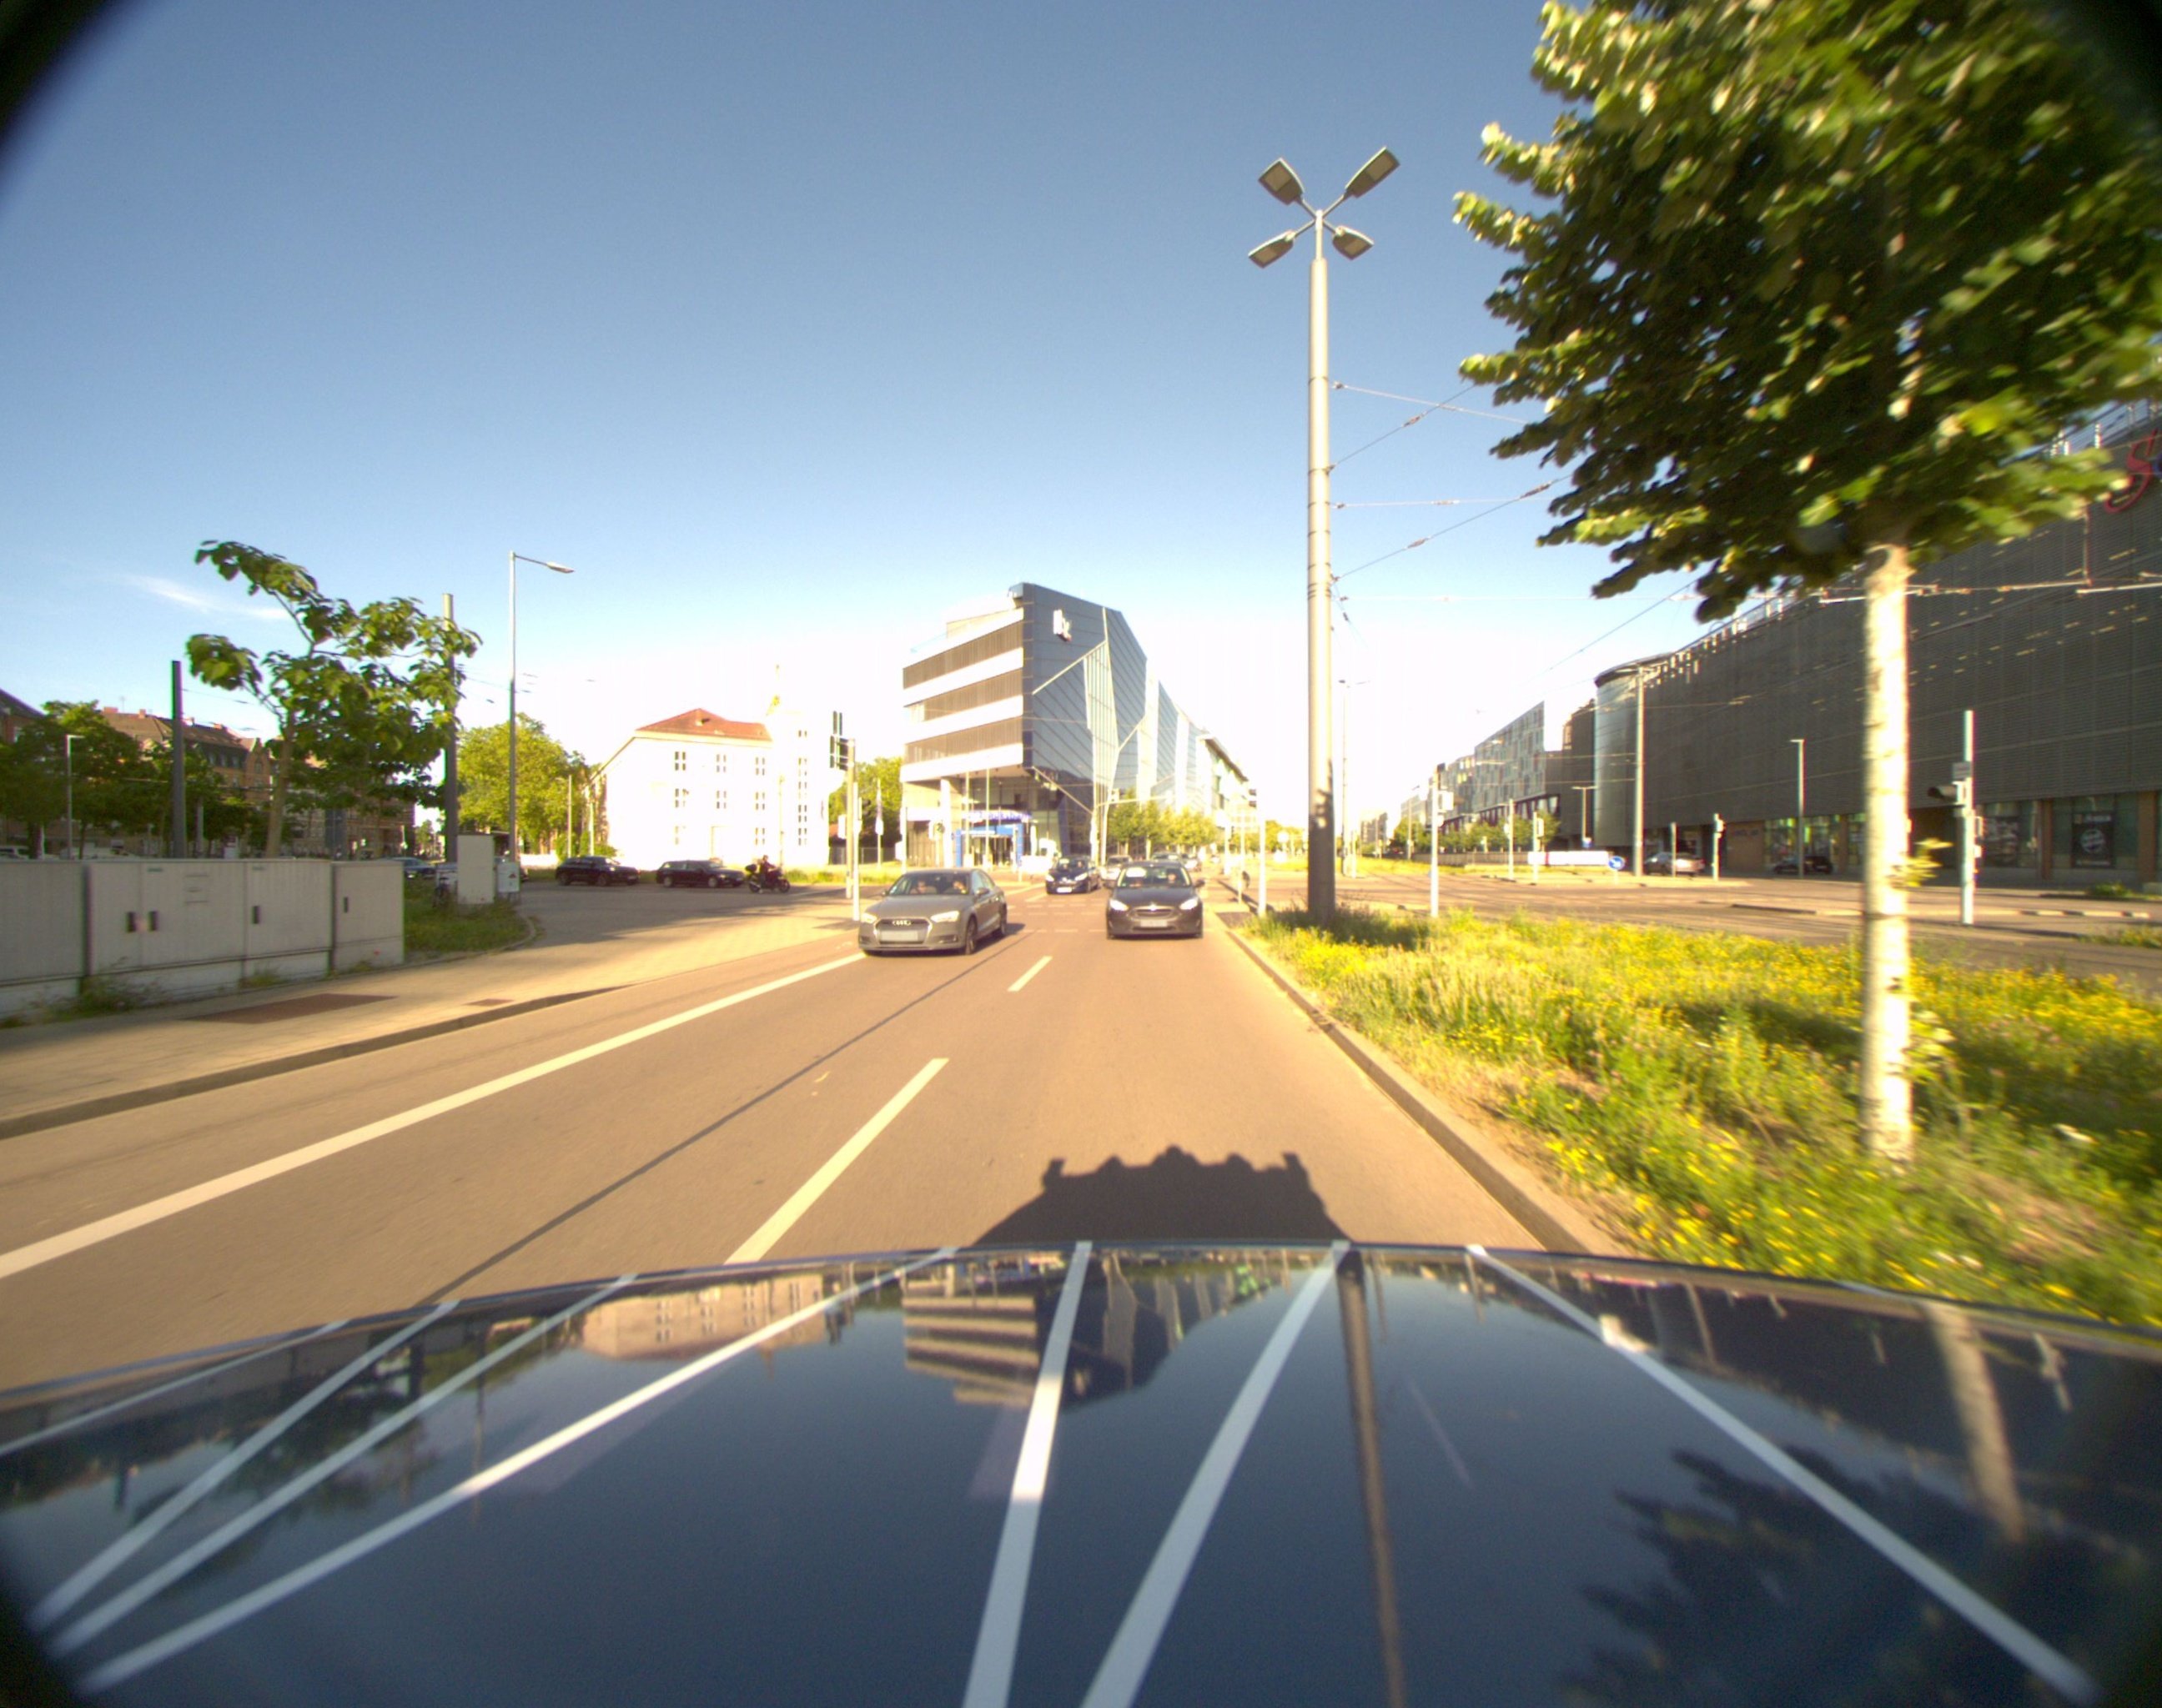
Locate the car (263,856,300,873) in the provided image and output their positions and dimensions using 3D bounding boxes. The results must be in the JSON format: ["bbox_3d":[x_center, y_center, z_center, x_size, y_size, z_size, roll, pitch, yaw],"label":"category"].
[{"bbox_3d":[-69.739,0.908,66.334,1.938,1.368,3.988,-1,1,-42],"label":"car"}]

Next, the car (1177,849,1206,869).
[{"bbox_3d":[8.323,0.330,56.946,1.618,1.421,3.772,0,1,17],"label":"car"}]

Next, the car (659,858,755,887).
[{"bbox_3d":[-19.356,0.929,39.309,4.285,1.414,2.003,0,1,19],"label":"car"}]

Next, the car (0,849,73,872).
[{"bbox_3d":[-81.952,0.508,58.966,1.995,1.707,4.006,0,1,20],"label":"car"}]

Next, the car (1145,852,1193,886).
[{"bbox_3d":[4.190,0.659,35.657,1.747,1.496,3.884,0,1,14],"label":"car"}]

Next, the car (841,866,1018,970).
[{"bbox_3d":[-2.428,0.979,13.312,1.713,1.433,4.114,0,1,9],"label":"car"}]

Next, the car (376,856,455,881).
[{"bbox_3d":[-40.661,0.870,46.417,4.514,1.414,2.003,0,1,26],"label":"car"}]

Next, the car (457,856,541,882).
[{"bbox_3d":[-33.671,0.834,43.978,3.991,1.414,2.003,0,1,19],"label":"car"}]

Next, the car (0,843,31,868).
[{"bbox_3d":[-76.197,0.091,52.416,1.995,1.707,4.006,0,1,21],"label":"car"}]

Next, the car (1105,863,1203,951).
[{"bbox_3d":[1.579,0.933,15.223,1.688,1.425,4.156,0,1,9],"label":"car"}]

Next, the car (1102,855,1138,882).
[{"bbox_3d":[2.308,0.781,43.891,1.437,1.437,4.004,0,1,13],"label":"car"}]

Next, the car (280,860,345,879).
[{"bbox_3d":[-52.612,1.043,52.014,3.989,1.237,2.004,0,1,27],"label":"car"}]

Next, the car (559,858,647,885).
[{"bbox_3d":[-26.004,0.928,41.358,3.991,1.414,2.003,0,1,19],"label":"car"}]

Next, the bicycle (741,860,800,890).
[{"bbox_3d":[-14.234,0.960,34.816,2.368,1.304,0.952,0,1,13],"label":"bicycle"}]

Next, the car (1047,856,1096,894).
[{"bbox_3d":[-0.326,0.825,31.266,1.735,1.437,4.001,0,1,3],"label":"car"}]

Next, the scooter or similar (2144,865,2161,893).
[{"bbox_3d":[40.872,0.950,28.404,0.436,1.036,1.363,-1,1,5],"label":"scooter or similar"}]

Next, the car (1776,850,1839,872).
[{"bbox_3d":[53.090,0.493,55.627,1.582,1.521,3.754,-1,1,12],"label":"car"}]

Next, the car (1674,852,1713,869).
[{"bbox_3d":[52.323,0.552,65.005,1.688,1.364,3.596,0,1,23],"label":"car"}]

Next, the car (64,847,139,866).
[{"bbox_3d":[-95.135,0.199,73.848,1.995,1.805,4.006,0,1,22],"label":"car"}]

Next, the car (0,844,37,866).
[{"bbox_3d":[-85.078,0.085,59.127,1.994,1.707,4.270,0,1,30],"label":"car"}]

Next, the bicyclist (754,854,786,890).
[{"bbox_3d":[-14.247,0.802,34.831,1.006,1.598,0.880,0,1,13],"label":"bicyclist"}]

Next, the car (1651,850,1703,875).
[{"bbox_3d":[40.465,0.536,51.708,1.807,1.566,4.301,1,1,24],"label":"car"}]
